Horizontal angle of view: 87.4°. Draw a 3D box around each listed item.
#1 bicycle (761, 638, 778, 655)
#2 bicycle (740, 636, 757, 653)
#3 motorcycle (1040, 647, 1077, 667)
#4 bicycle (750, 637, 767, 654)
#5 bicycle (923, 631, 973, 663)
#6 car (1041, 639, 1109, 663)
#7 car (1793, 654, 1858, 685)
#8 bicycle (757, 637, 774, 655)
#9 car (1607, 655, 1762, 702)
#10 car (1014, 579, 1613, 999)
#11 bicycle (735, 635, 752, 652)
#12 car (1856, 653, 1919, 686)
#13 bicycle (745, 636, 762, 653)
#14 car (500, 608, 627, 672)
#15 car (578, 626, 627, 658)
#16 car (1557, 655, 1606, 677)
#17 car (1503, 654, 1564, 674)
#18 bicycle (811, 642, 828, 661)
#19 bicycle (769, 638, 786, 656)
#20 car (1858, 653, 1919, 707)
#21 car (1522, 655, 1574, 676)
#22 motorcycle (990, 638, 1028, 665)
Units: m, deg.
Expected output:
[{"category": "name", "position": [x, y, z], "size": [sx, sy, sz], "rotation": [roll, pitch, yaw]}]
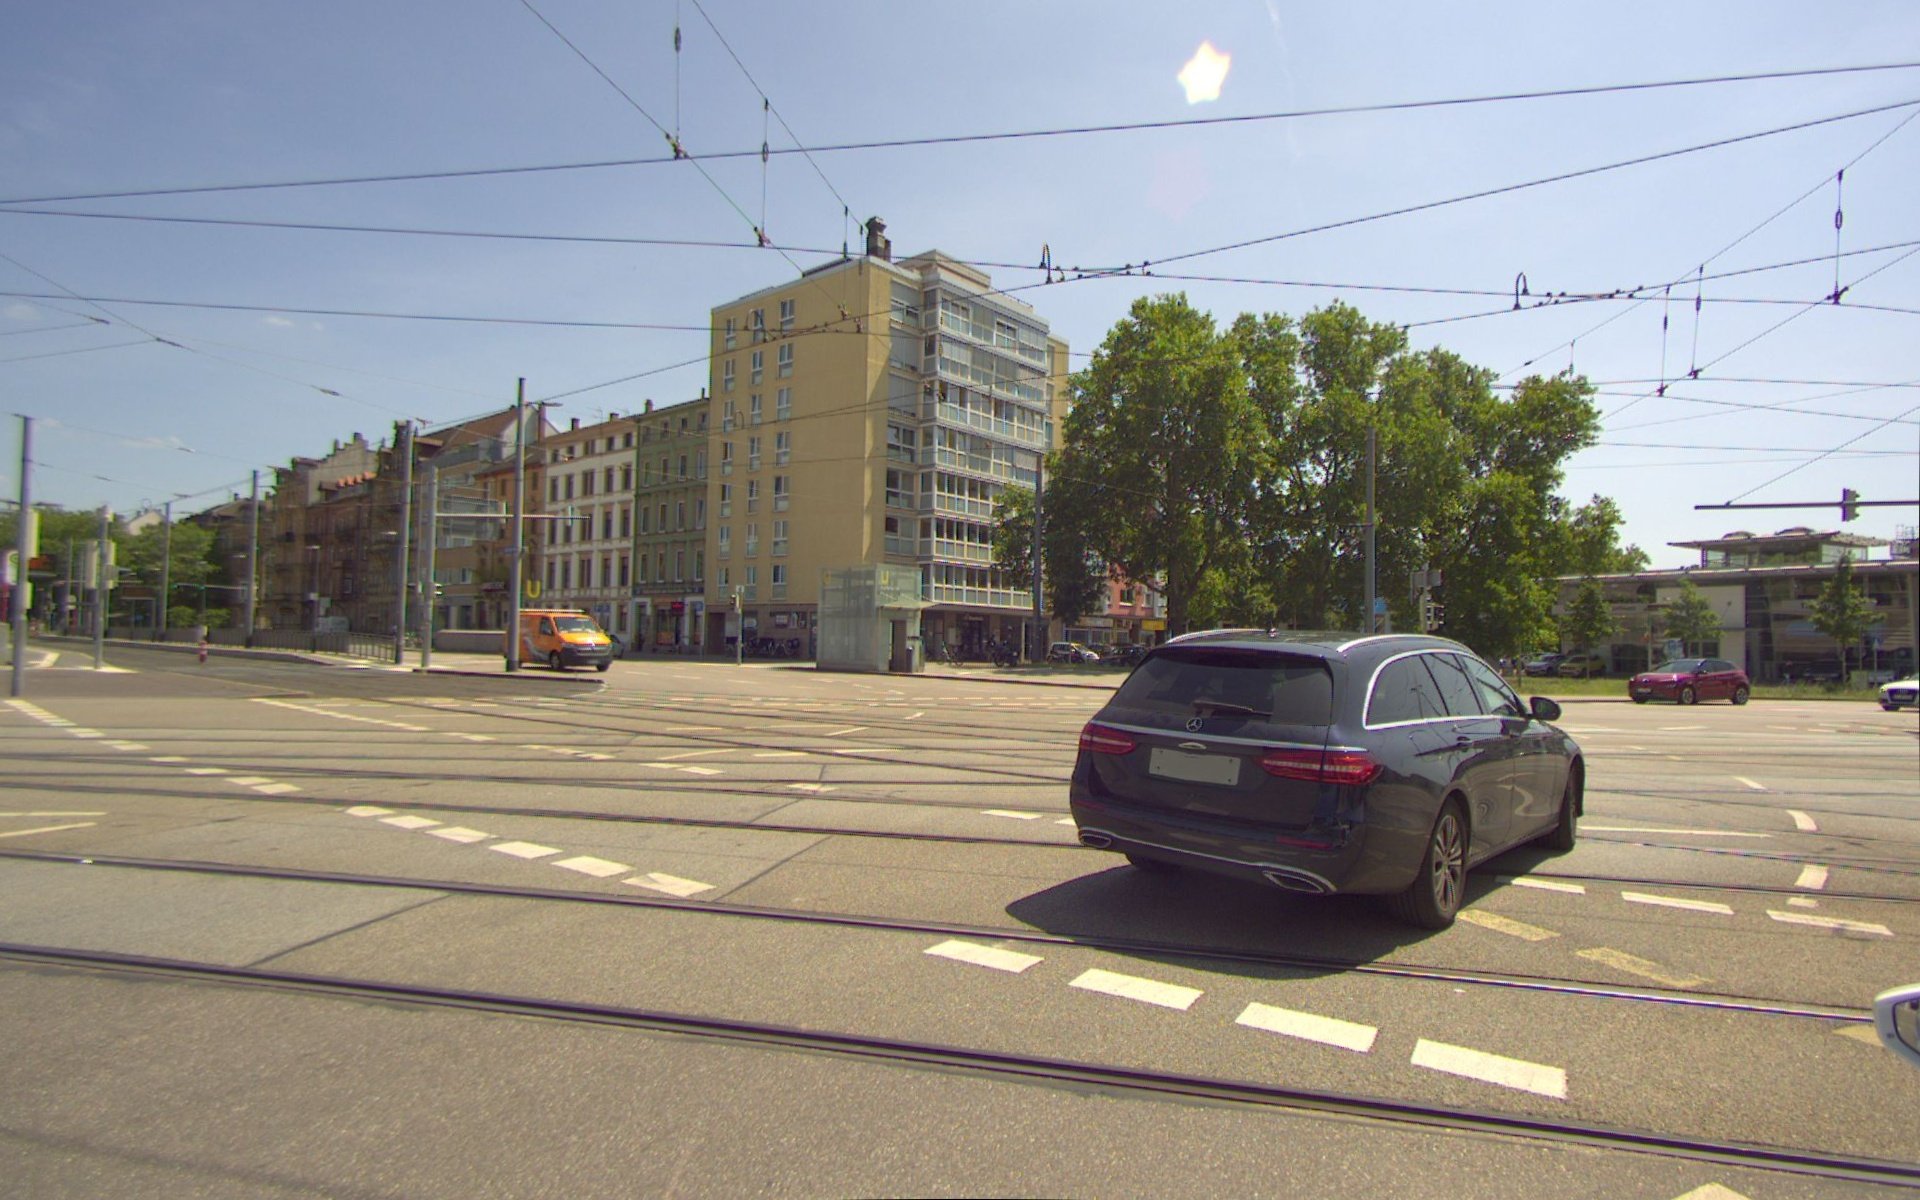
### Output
[{"category": "bicycle", "position": [-11.620, 2.828, 61.321], "size": [0.424, 1.040, 1.445], "rotation": [1, -2, 14]}, {"category": "bicycle", "position": [-13.221, 2.762, 62.696], "size": [0.424, 1.040, 1.445], "rotation": [1, -2, 14]}, {"category": "motorcycle", "position": [5.243, 3.022, 53.289], "size": [1.885, 0.974, 0.525], "rotation": [0, -2, 28]}, {"category": "bicycle", "position": [-12.405, 2.795, 61.983], "size": [0.424, 1.040, 1.445], "rotation": [1, -2, 14]}, {"category": "bicycle", "position": [-0.696, 2.683, 57.551], "size": [2.848, 1.790, 1.095], "rotation": [0, -2, 41]}, {"category": "car", "position": [7.516, 3.348, 65.654], "size": [3.933, 1.438, 1.995], "rotation": [0, -3, 34]}, {"category": "car", "position": [53.594, 4.312, 62.172], "size": [3.956, 1.729, 1.910], "rotation": [4, -1, -32]}, {"category": "bicycle", "position": [-11.952, 2.816, 61.705], "size": [0.424, 1.040, 1.445], "rotation": [1, -2, 14]}, {"category": "car", "position": [25.193, 2.722, 34.948], "size": [4.771, 1.484, 1.992], "rotation": [2, -2, -19]}, {"category": "car", "position": [2.578, 0.834, 6.362], "size": [1.778, 1.662, 4.777], "rotation": [2, -1, 43]}, {"category": "bicycle", "position": [-13.576, 2.748, 63.020], "size": [0.424, 1.040, 1.445], "rotation": [1, -2, 14]}, {"category": "car", "position": [55.150, 4.153, 59.621], "size": [3.956, 1.729, 1.910], "rotation": [4, -1, -32]}, {"category": "bicycle", "position": [-12.777, 2.780, 62.276], "size": [0.424, 1.040, 1.445], "rotation": [1, -2, 14]}, {"category": "car", "position": [-13.801, 1.358, 34.830], "size": [4.798, 2.084, 1.991], "rotation": [0, -3, 40]}, {"category": "car", "position": [-20.992, 2.437, 59.123], "size": [1.804, 1.773, 3.997], "rotation": [2, -2, -6]}, {"category": "car", "position": [46.825, 4.954, 75.639], "size": [4.287, 1.530, 1.754], "rotation": [3, -3, -37]}, {"category": "car", "position": [48.165, 5.378, 84.468], "size": [4.243, 1.530, 1.772], "rotation": [1, -2, 23]}, {"category": "bicycle", "position": [-8.118, 2.967, 58.026], "size": [0.424, 1.040, 1.445], "rotation": [1, -2, 14]}, {"category": "bicycle", "position": [-11.094, 2.854, 61.083], "size": [0.424, 1.040, 1.445], "rotation": [1, -2, 14]}, {"category": "car", "position": [30.805, 2.510, 31.352], "size": [4.771, 1.601, 2.075], "rotation": [2, -2, -19]}, {"category": "car", "position": [45.735, 5.113, 78.093], "size": [4.278, 1.530, 1.758], "rotation": [3, -3, -32]}, {"category": "motorcycle", "position": [2.381, 2.508, 48.864], "size": [0.949, 1.238, 2.802], "rotation": [2, -2, -17]}]
